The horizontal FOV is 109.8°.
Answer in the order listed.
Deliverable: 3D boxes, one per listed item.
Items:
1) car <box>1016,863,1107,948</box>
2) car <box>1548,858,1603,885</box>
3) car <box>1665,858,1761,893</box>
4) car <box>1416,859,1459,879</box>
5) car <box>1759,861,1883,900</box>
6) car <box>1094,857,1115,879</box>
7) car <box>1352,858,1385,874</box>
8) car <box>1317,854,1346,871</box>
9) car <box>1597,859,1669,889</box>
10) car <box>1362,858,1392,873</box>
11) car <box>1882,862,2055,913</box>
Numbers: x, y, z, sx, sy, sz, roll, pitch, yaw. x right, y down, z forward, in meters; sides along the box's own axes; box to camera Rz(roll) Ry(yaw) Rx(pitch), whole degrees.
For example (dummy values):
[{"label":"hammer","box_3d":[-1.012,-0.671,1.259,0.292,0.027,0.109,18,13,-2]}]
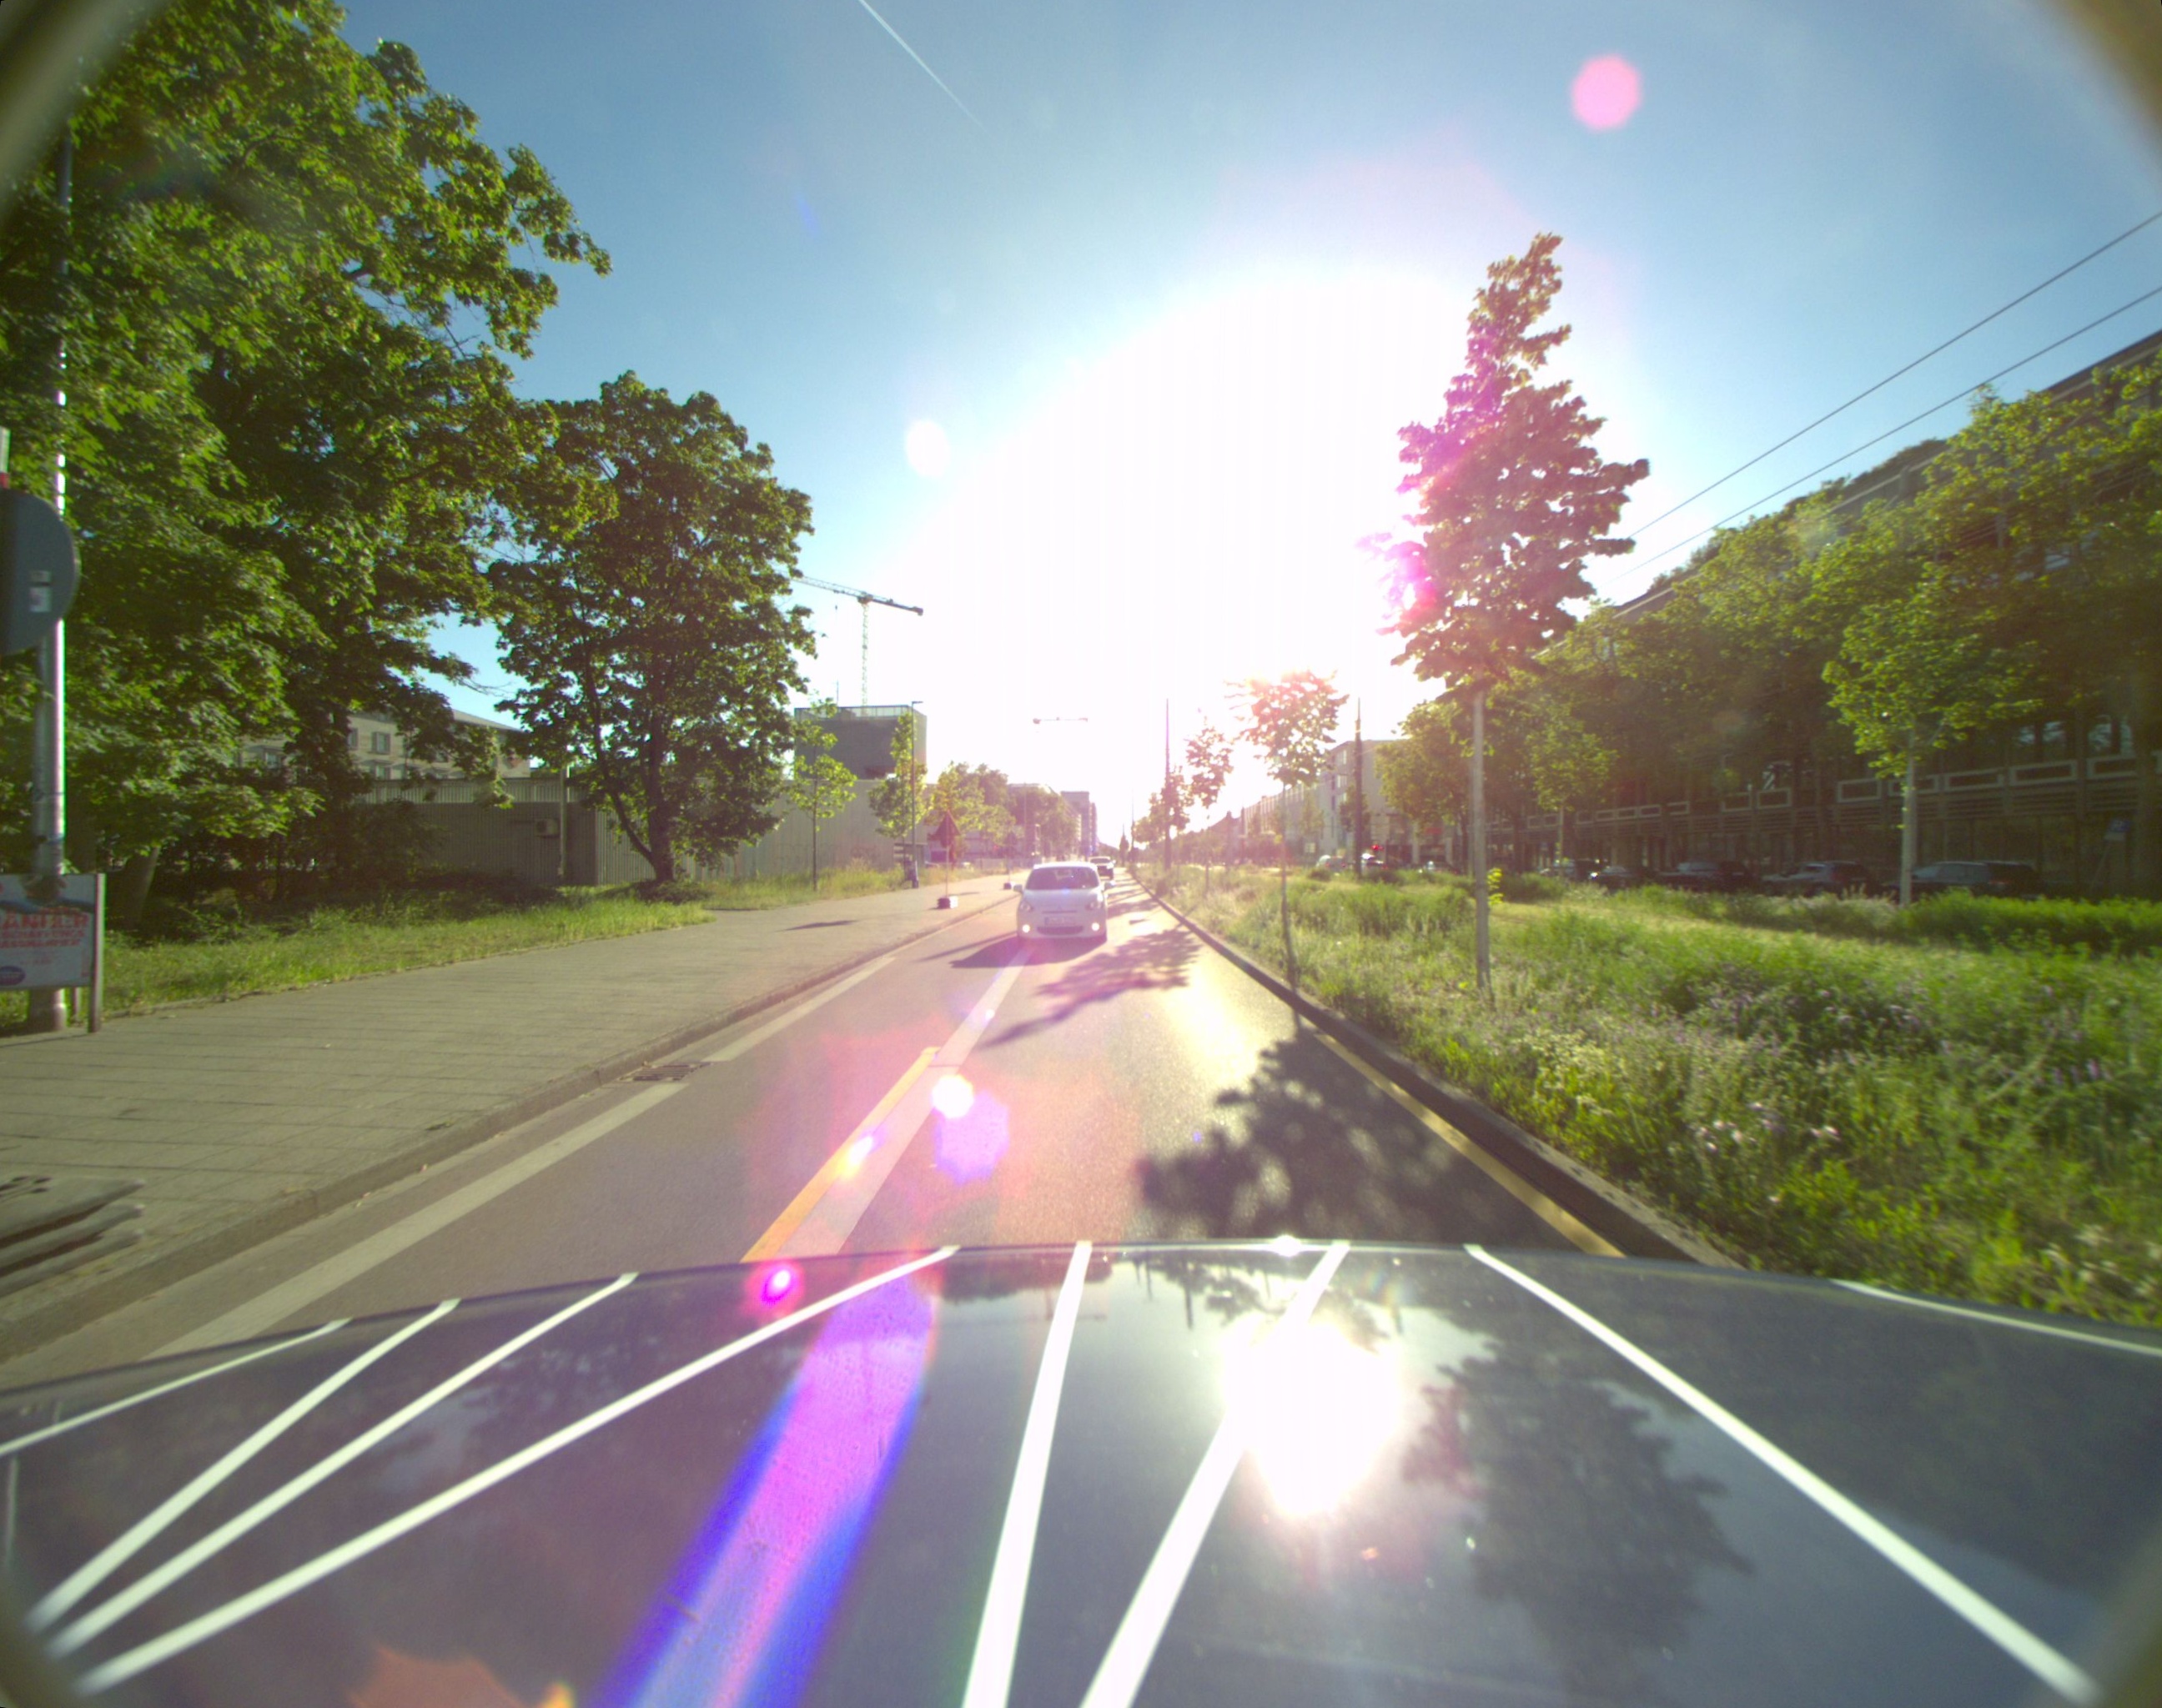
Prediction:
[{"label":"car","box_3d":[-0.338,0.952,15.436,1.614,1.488,3.394,-1,0,0]},{"label":"car","box_3d":[31.782,1.109,48.923,1.390,1.592,3.266,-2,0,1]},{"label":"car","box_3d":[31.249,1.032,37.699,1.726,1.592,3.631,-2,0,1]},{"label":"car","box_3d":[27.343,1.118,58.377,1.631,1.487,3.780,0,0,3]},{"label":"car","box_3d":[31.075,1.075,32.059,1.726,1.477,3.631,-2,0,1]},{"label":"car","box_3d":[1.761,0.994,56.173,1.458,1.472,3.527,-1,2,2]},{"label":"car","box_3d":[24.910,1.037,65.950,1.554,1.371,3.780,0,0,3]},{"label":"car","box_3d":[25.982,0.874,78.915,1.865,1.671,3.780,0,0,3]},{"label":"car","box_3d":[31.328,1.101,43.219,1.510,1.592,3.527,-2,0,1]},{"label":"car","box_3d":[28.983,1.129,74.487,1.554,1.371,3.780,0,0,3]},{"label":"car","box_3d":[30.411,1.090,26.218,1.726,1.535,3.631,-2,0,1]}]
